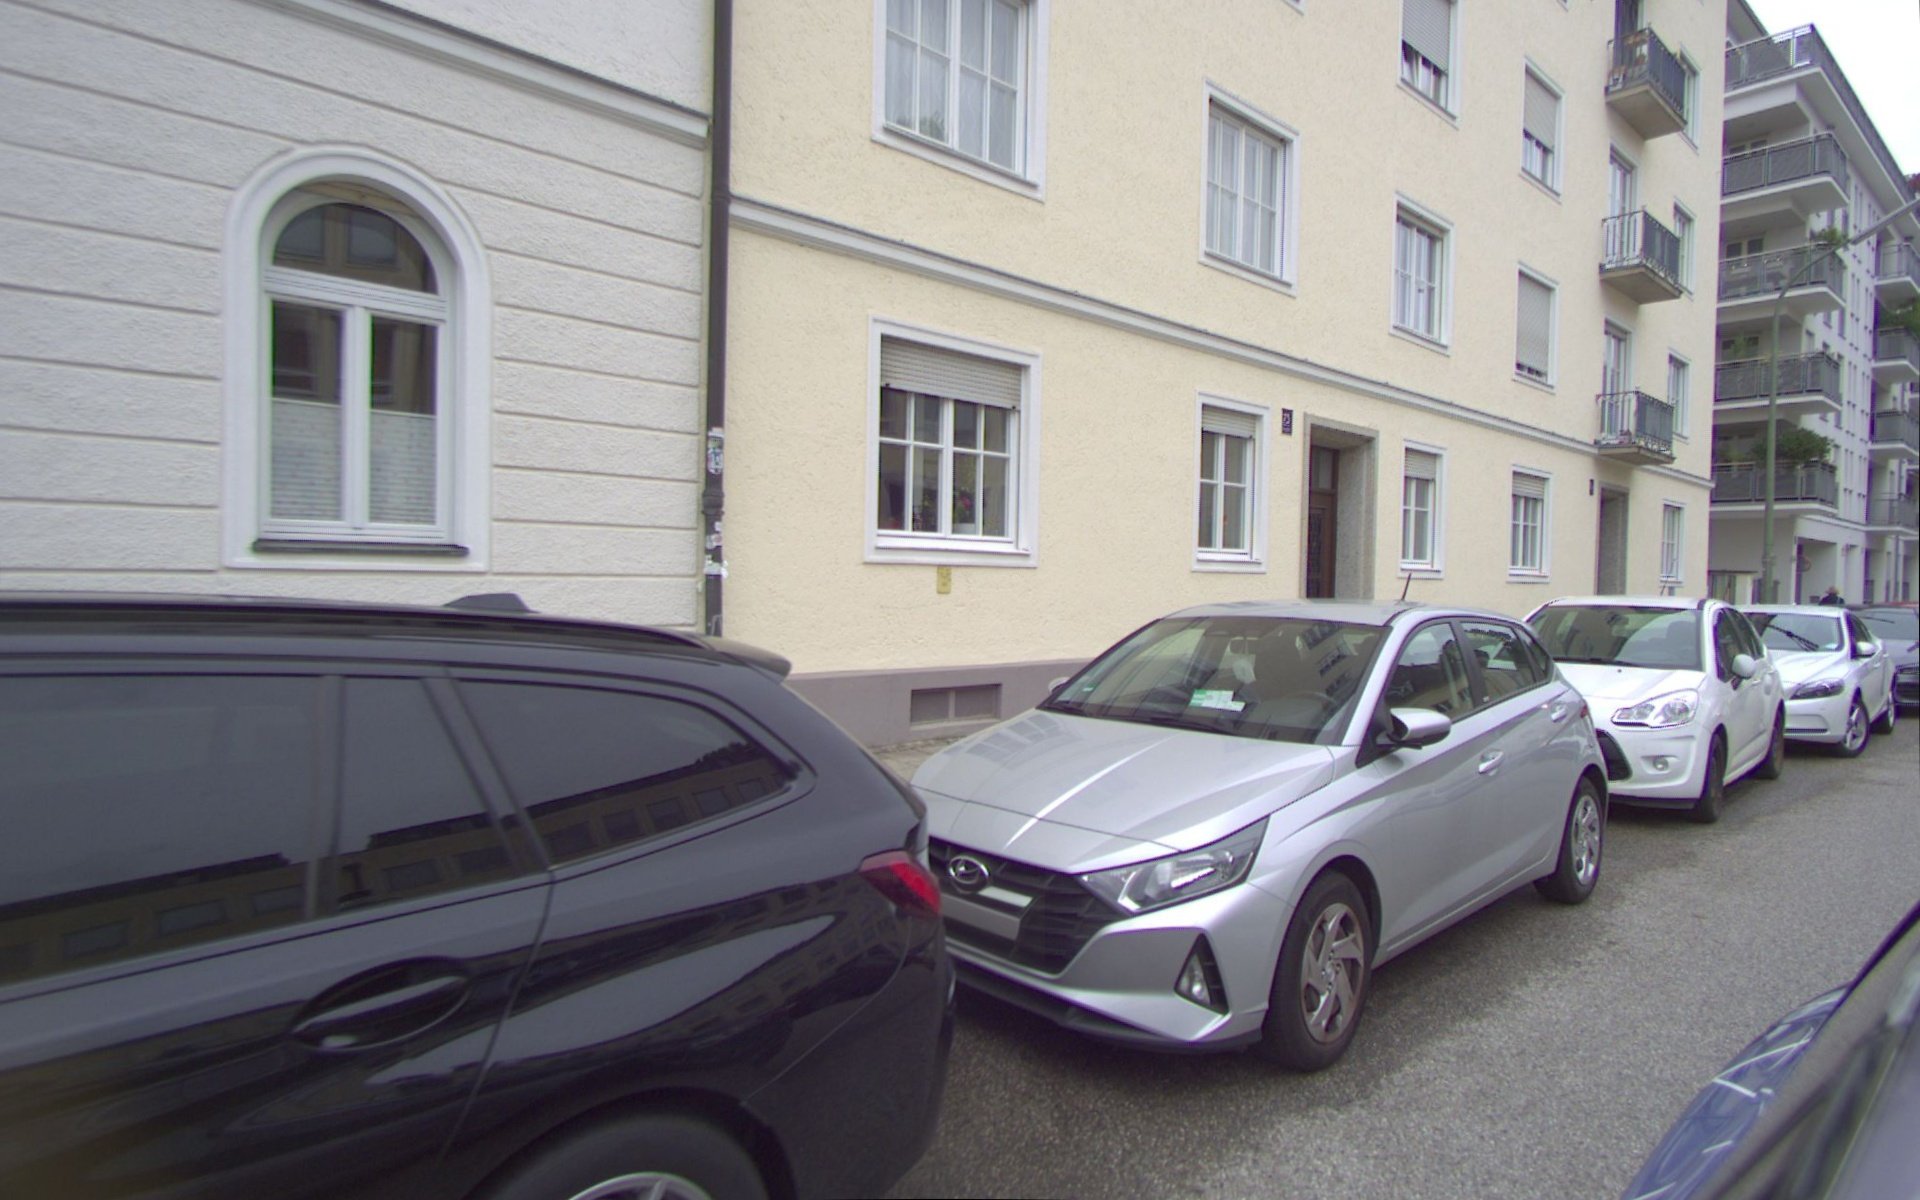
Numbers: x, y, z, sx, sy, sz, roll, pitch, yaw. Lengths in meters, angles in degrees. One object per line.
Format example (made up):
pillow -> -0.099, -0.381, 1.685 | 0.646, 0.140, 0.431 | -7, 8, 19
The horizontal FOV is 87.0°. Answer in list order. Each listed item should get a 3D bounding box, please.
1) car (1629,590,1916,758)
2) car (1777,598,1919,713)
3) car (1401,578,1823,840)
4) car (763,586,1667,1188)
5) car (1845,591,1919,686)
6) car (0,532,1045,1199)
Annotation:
car -> 8.924, 0.644, 11.001 | 3.954, 1.477, 1.839 | -1, 0, -42
car -> 13.076, 0.694, 14.343 | 3.954, 1.392, 1.740 | -1, 1, -42
car -> 5.395, 0.625, 8.144 | 4.195, 1.567, 1.839 | -1, 0, -42
car -> 1.556, 0.669, 4.678 | 4.574, 1.452, 1.839 | -1, 1, -42
car -> 17.256, 0.624, 18.080 | 3.954, 1.535, 1.740 | -1, 0, -42
car -> -2.067, 0.651, 1.236 | 4.452, 1.432, 1.800 | -1, 1, -42
